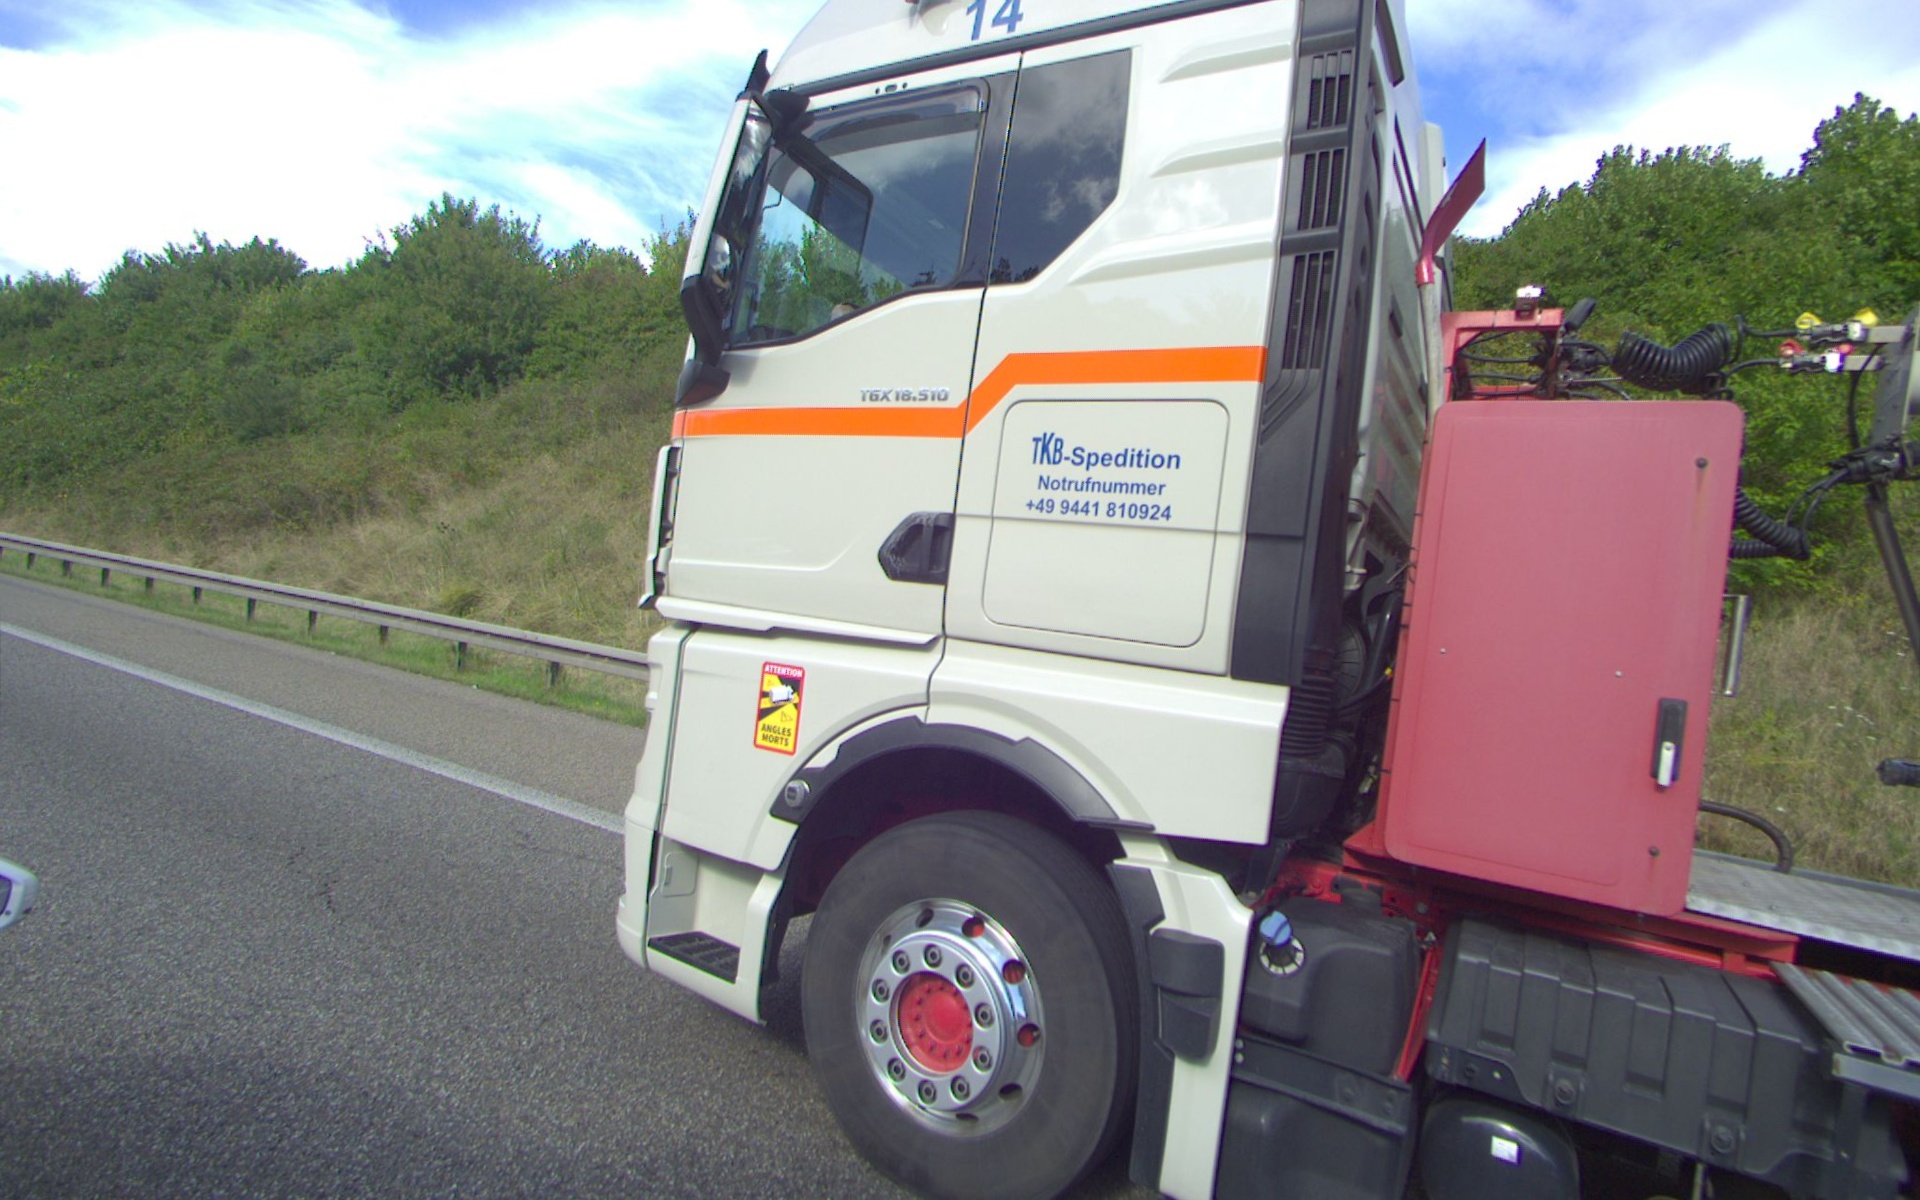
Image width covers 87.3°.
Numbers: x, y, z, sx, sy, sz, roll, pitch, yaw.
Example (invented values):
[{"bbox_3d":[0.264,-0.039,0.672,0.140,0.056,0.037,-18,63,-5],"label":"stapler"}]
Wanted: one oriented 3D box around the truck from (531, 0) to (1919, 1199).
[{"bbox_3d":[2.040,-0.265,2.851,5.807,4.091,2.807,7,-1,32],"label":"truck"}]
